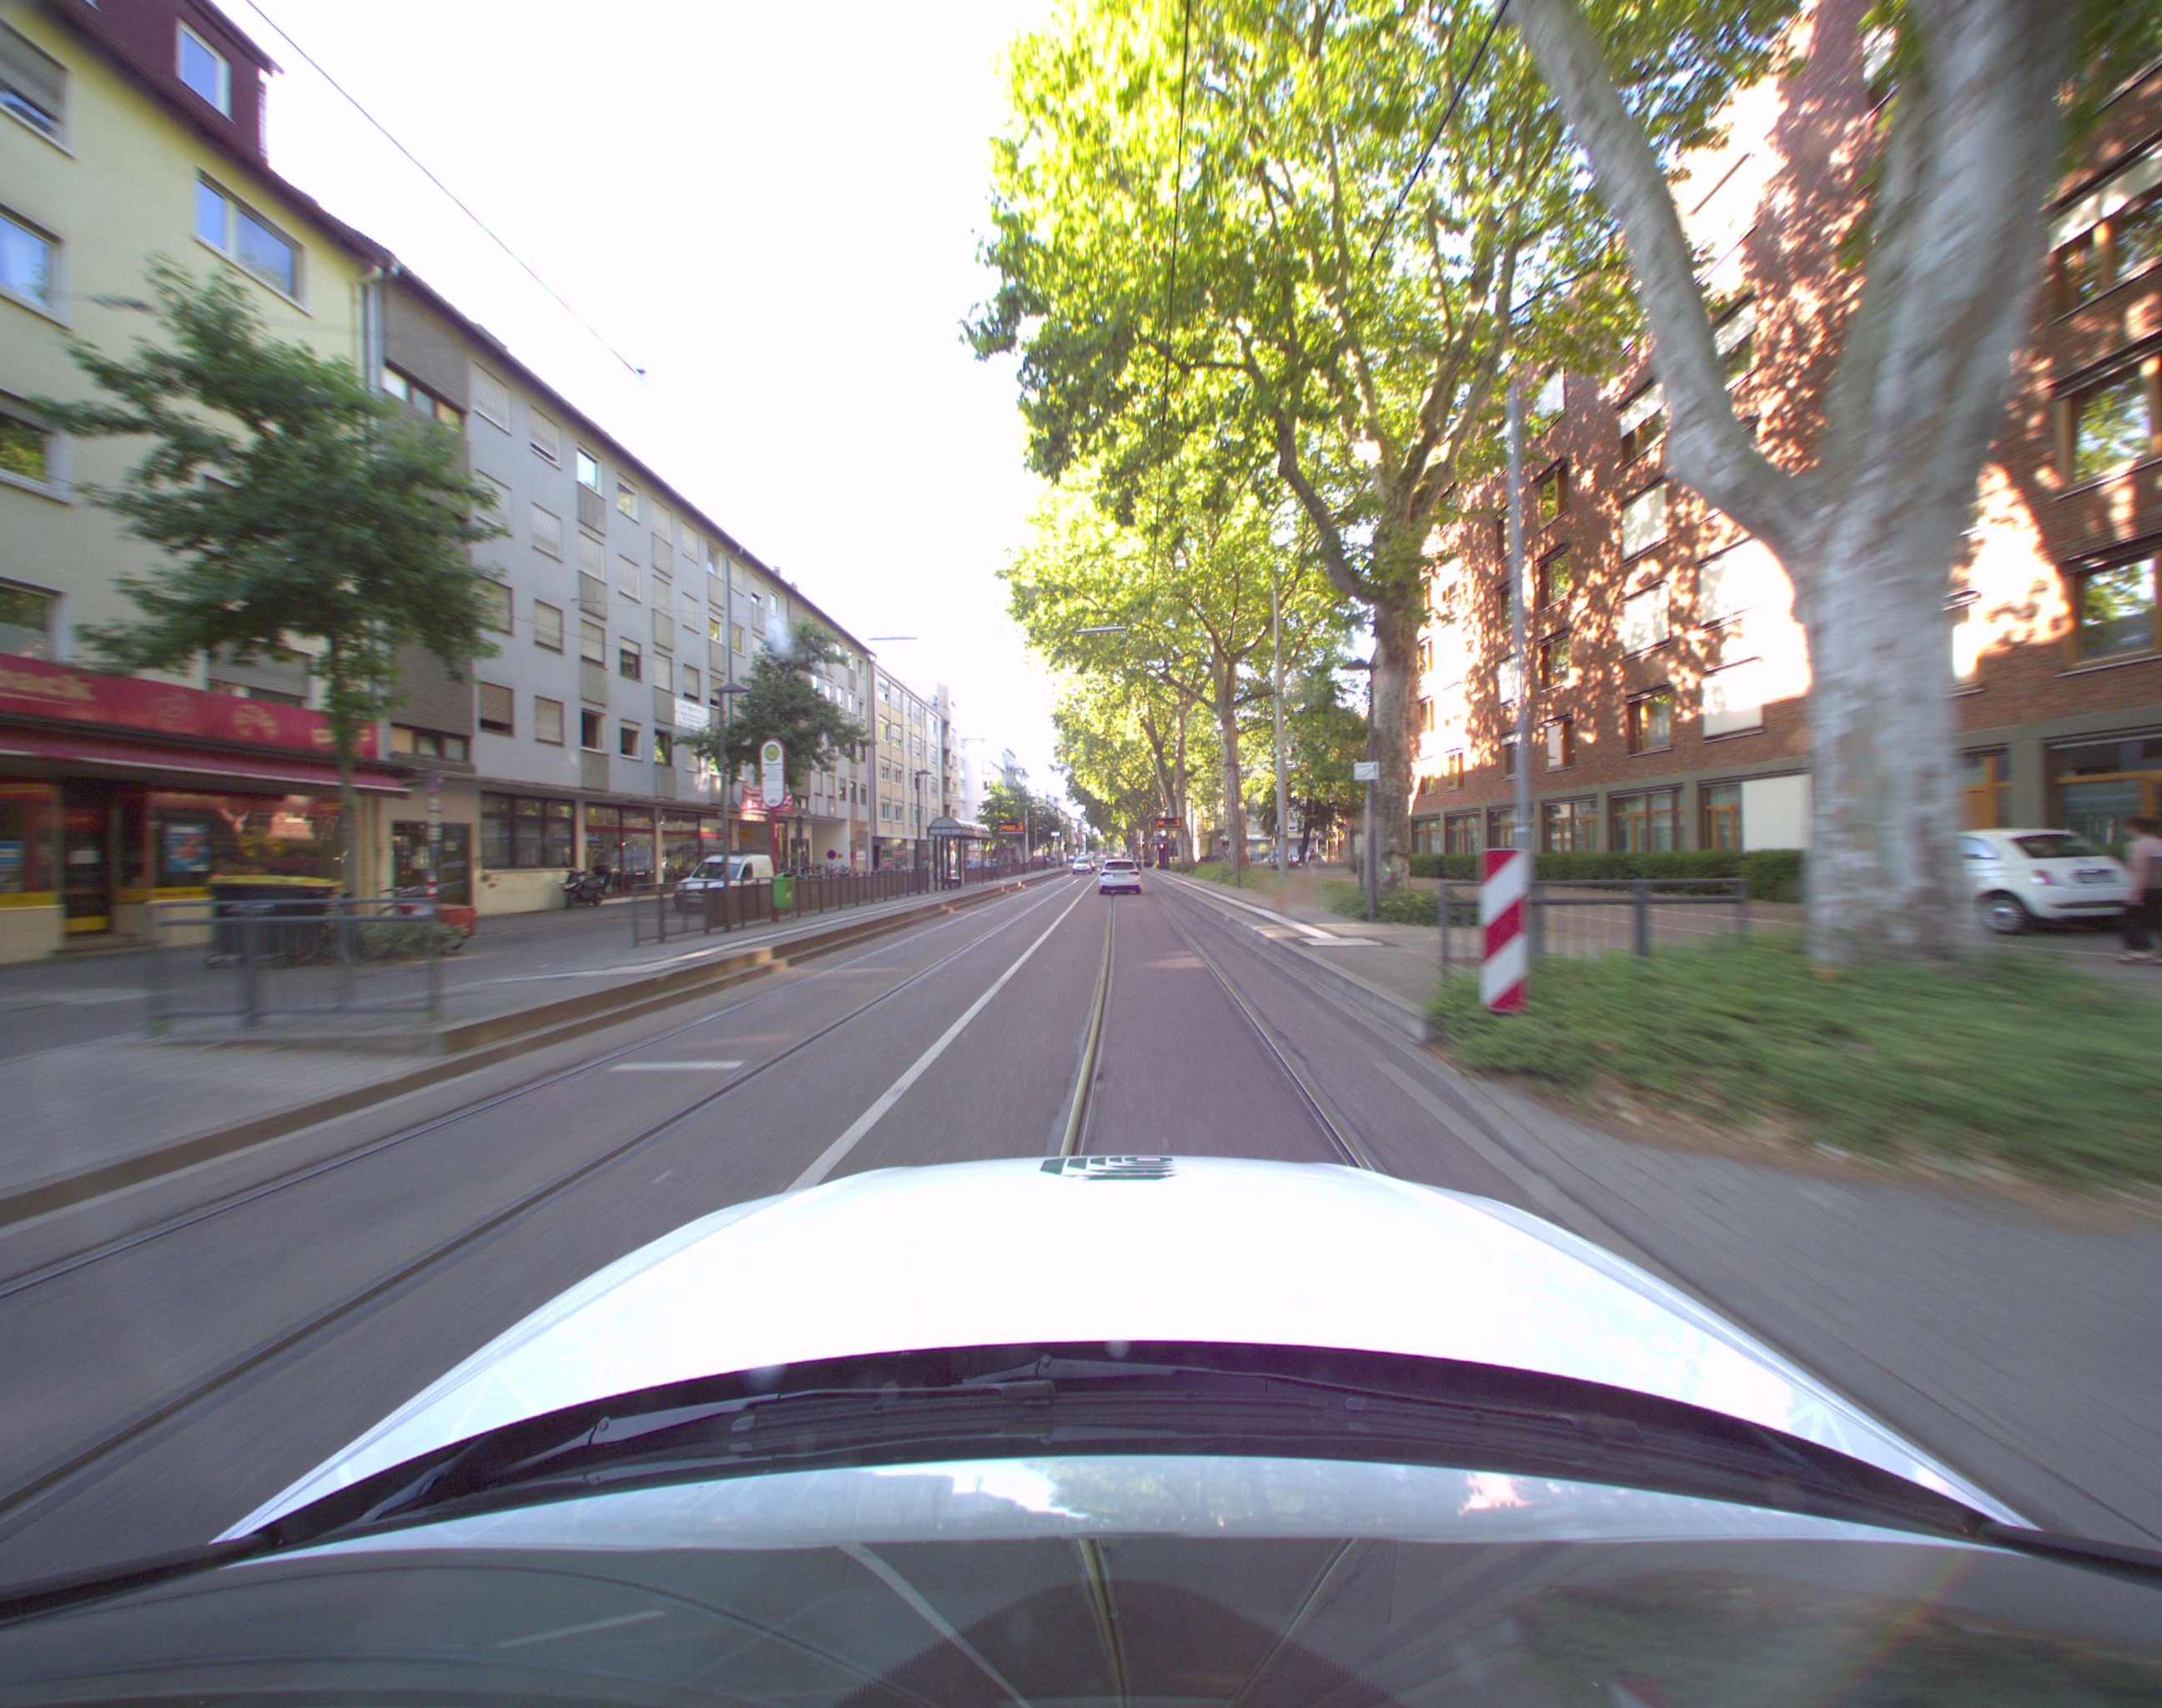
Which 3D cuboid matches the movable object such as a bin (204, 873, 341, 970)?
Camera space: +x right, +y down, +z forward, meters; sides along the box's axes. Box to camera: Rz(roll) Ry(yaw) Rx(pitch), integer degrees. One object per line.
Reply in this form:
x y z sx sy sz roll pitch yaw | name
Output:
-12.055 0.990 12.178 1.167 1.348 0.782 2 -1 -2 | movable object such as a bin

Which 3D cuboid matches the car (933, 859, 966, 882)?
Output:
-9.428 1.161 58.726 1.587 1.548 4.002 1 0 2 | car

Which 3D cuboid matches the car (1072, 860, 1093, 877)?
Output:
0.166 1.315 74.827 1.687 1.419 4.002 -1 0 2 | car

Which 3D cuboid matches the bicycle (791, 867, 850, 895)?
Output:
-10.949 1.127 34.236 2.243 1.074 0.637 2 0 3 | bicycle

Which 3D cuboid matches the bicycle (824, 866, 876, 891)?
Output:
-10.889 1.144 38.478 2.243 1.074 0.637 2 0 3 | bicycle

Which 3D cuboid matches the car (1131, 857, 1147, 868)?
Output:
7.891 1.197 111.160 1.986 1.453 4.002 -1 0 2 | car

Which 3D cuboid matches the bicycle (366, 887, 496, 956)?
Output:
-11.318 1.161 14.228 1.528 1.075 0.886 2 0 1 | bicycle

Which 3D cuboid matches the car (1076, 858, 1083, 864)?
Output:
-0.546 1.986 235.423 1.781 1.513 4.002 -1 0 2 | car

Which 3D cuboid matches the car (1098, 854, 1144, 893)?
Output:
1.676 0.770 34.188 1.781 1.513 4.002 -1 0 2 | car

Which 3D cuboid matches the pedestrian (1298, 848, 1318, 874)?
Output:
14.142 0.433 50.711 0.968 1.623 0.888 -1 0 2 | pedestrian

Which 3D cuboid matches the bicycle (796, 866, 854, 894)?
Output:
-10.921 1.104 34.822 2.243 1.074 0.637 2 0 3 | bicycle

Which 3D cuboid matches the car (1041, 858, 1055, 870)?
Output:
-4.534 1.414 112.134 1.671 1.548 4.002 1 0 2 | car

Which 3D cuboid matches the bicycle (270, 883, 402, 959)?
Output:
-12.363 1.082 13.589 0.497 1.107 1.800 2 0 0 | bicycle

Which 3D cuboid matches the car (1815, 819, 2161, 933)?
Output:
13.738 0.303 12.667 1.595 1.495 3.417 -1 0 1 | car

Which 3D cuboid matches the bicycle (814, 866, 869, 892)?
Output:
-10.811 1.132 36.727 2.243 1.074 0.637 2 0 3 | bicycle

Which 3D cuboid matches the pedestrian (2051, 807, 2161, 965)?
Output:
11.658 0.336 9.040 0.733 1.669 0.835 -1 0 1 | pedestrian

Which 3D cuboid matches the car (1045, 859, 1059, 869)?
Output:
-4.276 1.461 120.502 1.787 1.510 4.002 1 0 2 | car

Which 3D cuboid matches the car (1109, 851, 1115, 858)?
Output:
8.993 0.172 236.576 1.859 1.892 4.002 -1 0 2 | car

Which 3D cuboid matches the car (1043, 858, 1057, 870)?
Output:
-4.430 1.436 116.329 1.671 1.548 4.002 1 0 2 | car

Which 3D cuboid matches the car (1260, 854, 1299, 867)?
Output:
22.400 0.680 91.925 3.969 1.372 1.869 -1 0 4 | car

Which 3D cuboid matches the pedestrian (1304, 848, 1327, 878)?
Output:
12.955 0.486 45.012 0.968 1.623 0.888 -1 0 2 | pedestrian

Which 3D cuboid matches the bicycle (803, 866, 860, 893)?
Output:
-10.874 1.125 35.464 2.243 1.074 0.637 2 0 3 | bicycle

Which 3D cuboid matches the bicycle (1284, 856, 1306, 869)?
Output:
16.732 0.671 63.688 1.552 1.037 0.507 -1 0 23 | bicycle

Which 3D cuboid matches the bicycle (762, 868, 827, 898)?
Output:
-11.017 1.111 31.384 2.243 1.074 0.637 2 0 3 | bicycle

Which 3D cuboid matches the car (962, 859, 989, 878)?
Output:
-9.081 1.227 70.223 1.671 1.548 4.002 1 0 2 | car

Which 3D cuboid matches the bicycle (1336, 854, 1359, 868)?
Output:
20.530 0.554 62.755 1.552 1.037 0.482 -1 0 25 | bicycle

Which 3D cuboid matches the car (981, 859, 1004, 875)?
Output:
-8.899 1.301 82.386 1.671 1.548 4.002 1 0 2 | car

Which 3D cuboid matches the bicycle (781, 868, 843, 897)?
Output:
-10.902 1.131 33.029 2.243 1.074 0.637 2 0 3 | bicycle

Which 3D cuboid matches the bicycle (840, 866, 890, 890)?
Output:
-10.665 1.166 40.304 2.243 1.074 0.637 2 0 3 | bicycle

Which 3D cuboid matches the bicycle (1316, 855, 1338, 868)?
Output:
18.930 0.581 62.785 1.552 1.037 0.482 -1 0 23 | bicycle

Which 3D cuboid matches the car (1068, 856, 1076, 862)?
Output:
-2.262 1.177 200.706 1.781 1.513 4.002 -1 0 2 | car

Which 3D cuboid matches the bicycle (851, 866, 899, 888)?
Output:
-10.602 1.176 41.989 2.243 1.074 0.637 2 0 3 | bicycle

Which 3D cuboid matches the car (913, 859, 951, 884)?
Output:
-9.814 1.132 53.749 1.587 1.548 4.002 1 0 2 | car

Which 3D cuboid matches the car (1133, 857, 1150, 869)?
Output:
7.860 1.165 106.070 1.986 1.453 4.002 -1 0 2 | car

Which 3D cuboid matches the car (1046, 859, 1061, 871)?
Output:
-3.524 1.398 104.544 1.671 1.548 4.002 1 0 2 | car

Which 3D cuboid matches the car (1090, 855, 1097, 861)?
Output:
3.422 0.999 222.300 1.781 1.513 4.002 -1 0 2 | car

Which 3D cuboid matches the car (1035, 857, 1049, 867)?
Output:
-5.948 1.218 124.139 1.671 1.548 4.002 1 0 2 | car

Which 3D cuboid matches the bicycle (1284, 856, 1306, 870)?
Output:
16.527 0.669 62.778 1.552 1.037 0.482 -1 0 23 | bicycle

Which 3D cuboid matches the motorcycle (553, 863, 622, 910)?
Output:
-14.769 0.939 24.445 0.596 1.311 2.223 -1 0 2 | motorcycle

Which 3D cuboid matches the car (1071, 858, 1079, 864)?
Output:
-1.660 1.974 216.551 1.781 1.513 4.002 -1 0 2 | car

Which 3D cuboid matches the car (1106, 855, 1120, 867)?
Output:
4.273 0.950 109.151 1.781 1.513 4.002 -1 0 2 | car

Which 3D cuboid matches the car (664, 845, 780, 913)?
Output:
-11.100 0.725 25.470 1.681 1.940 4.002 -1 0 2 | car
